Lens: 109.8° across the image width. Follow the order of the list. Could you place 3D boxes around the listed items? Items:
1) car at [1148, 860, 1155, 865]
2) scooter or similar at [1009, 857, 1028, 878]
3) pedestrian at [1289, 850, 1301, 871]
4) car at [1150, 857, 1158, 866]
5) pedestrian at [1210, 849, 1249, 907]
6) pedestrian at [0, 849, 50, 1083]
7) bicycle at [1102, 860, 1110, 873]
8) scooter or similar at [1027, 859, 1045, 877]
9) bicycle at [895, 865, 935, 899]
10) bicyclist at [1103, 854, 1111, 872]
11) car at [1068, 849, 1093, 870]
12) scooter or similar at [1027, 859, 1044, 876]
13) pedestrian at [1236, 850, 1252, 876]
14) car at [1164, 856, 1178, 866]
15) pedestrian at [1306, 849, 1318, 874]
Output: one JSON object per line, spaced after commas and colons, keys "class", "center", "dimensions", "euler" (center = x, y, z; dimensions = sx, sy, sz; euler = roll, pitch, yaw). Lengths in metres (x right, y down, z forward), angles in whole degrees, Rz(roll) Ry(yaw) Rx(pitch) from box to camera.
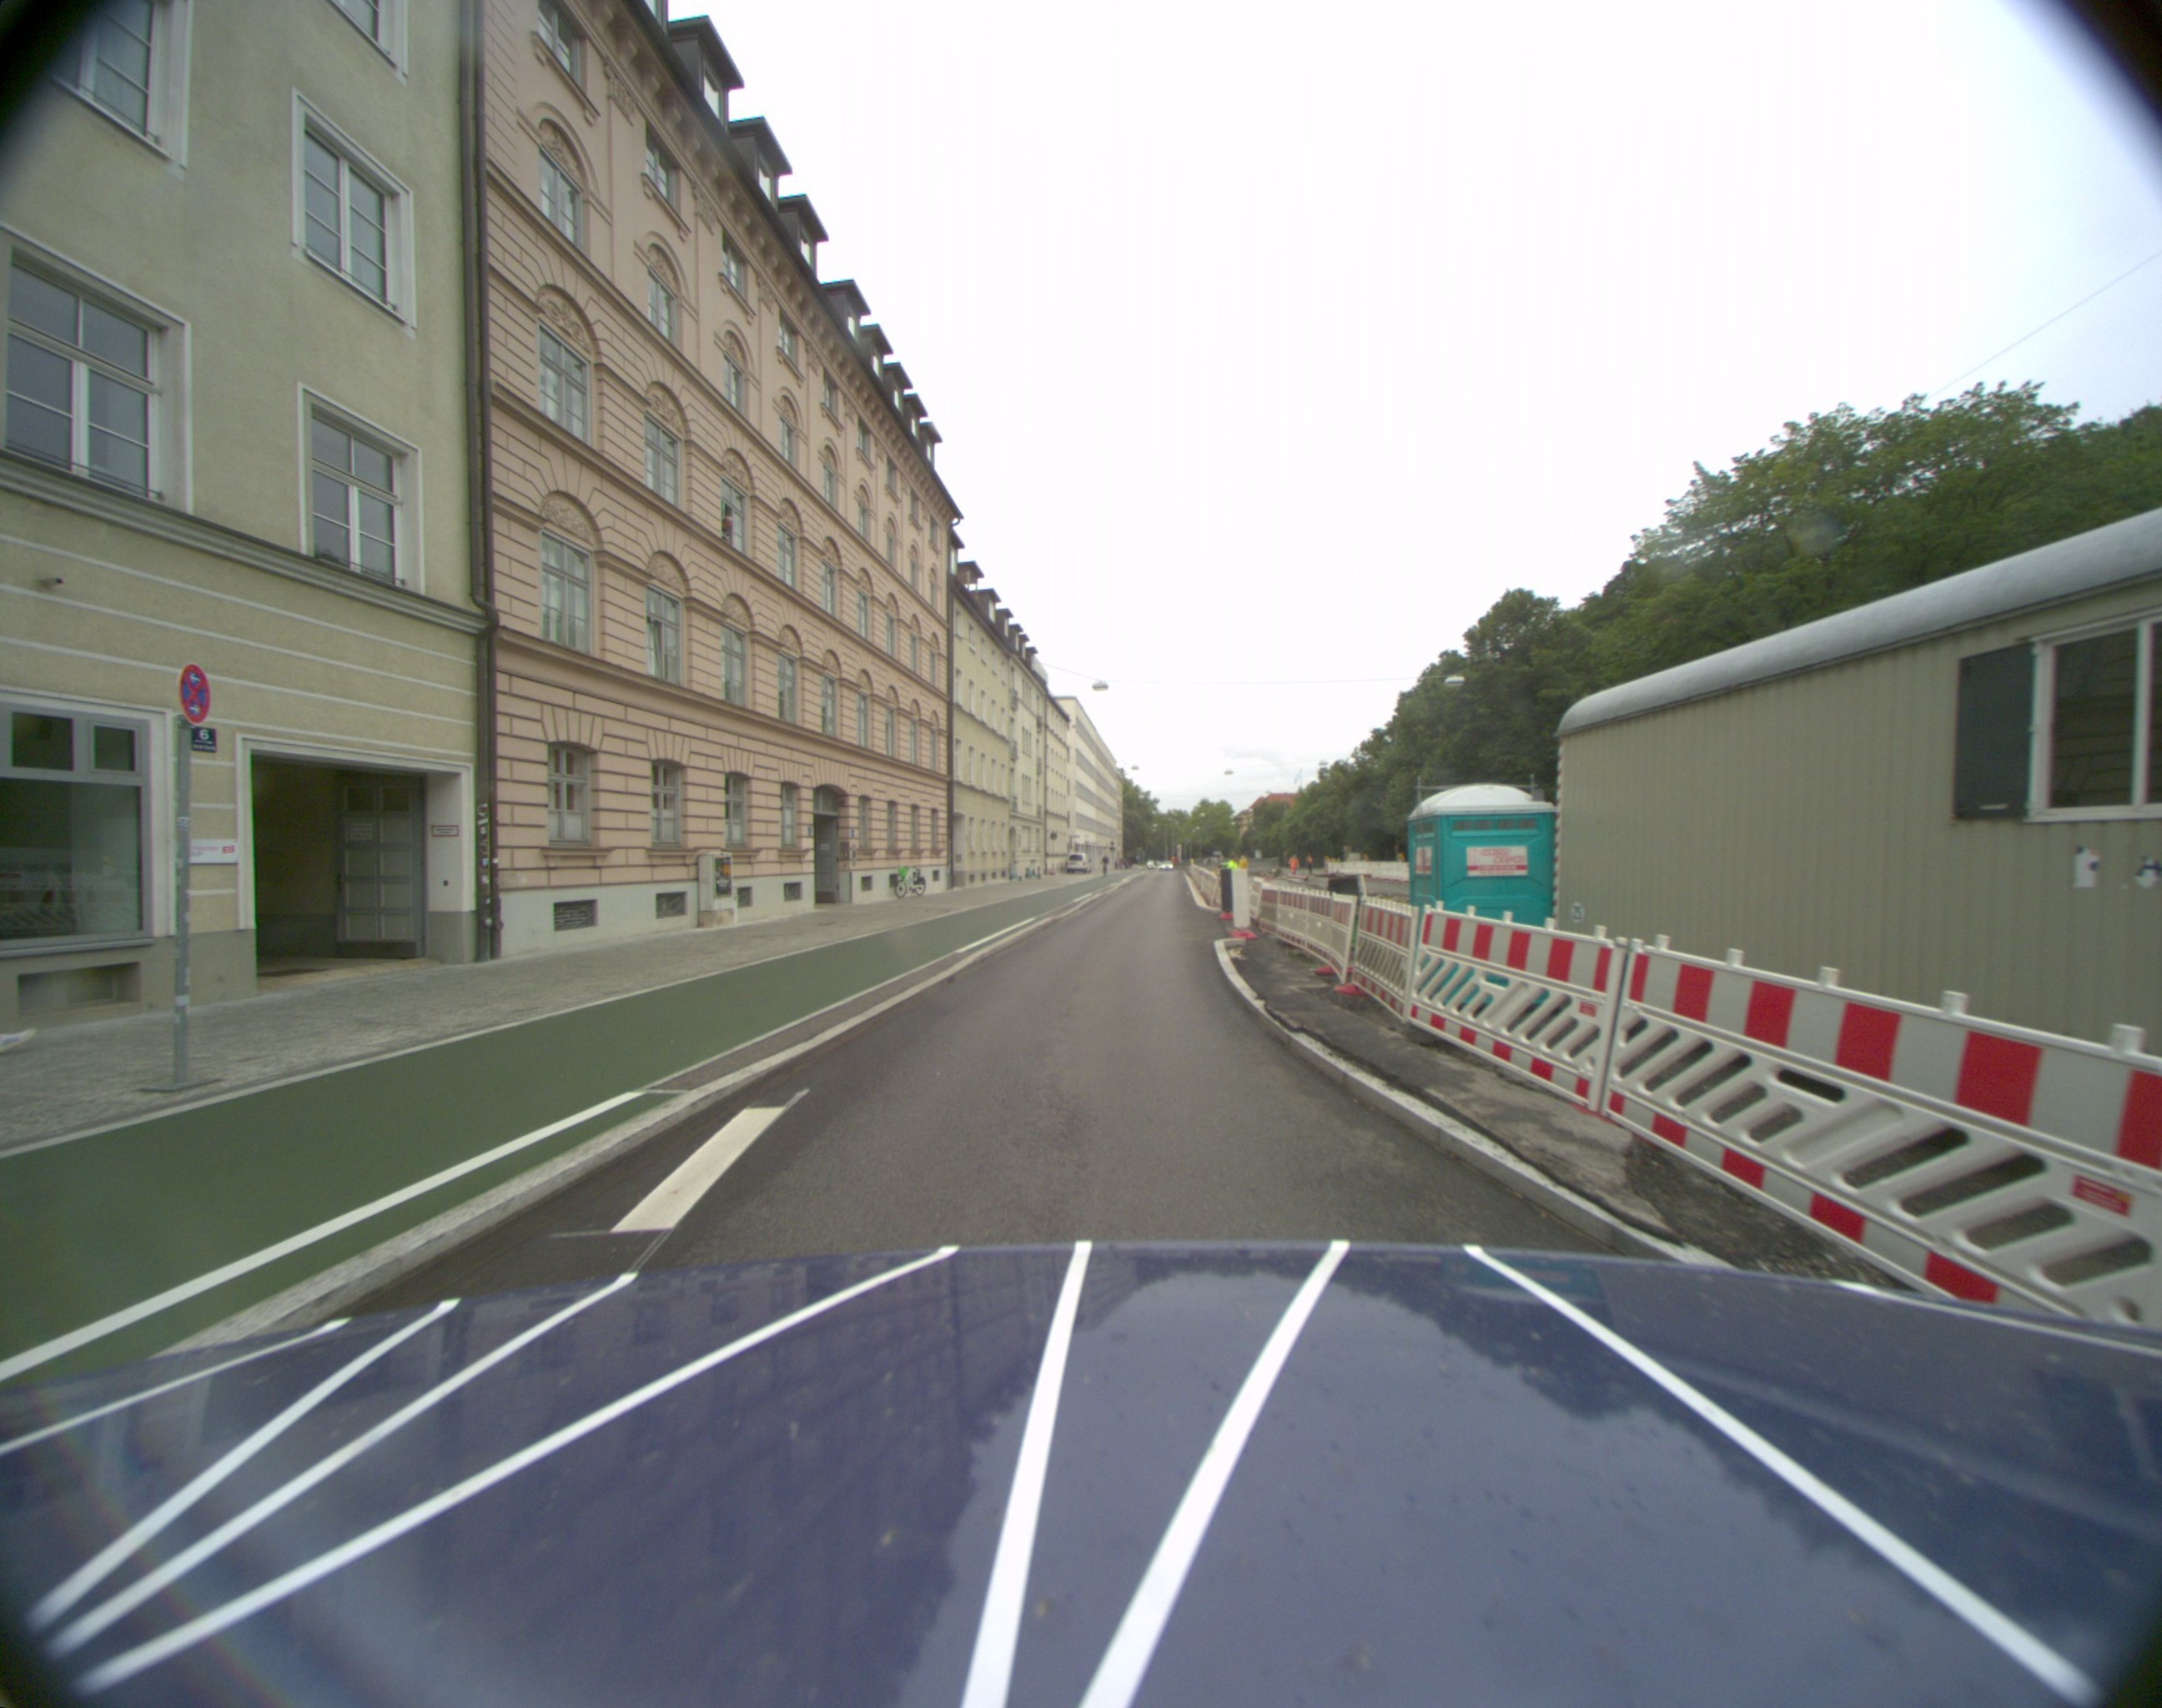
{"class": "car", "center": [21.712, 2.506, 234.446], "dimensions": [1.997, 1.560, 4.002], "euler": [0, 0, 6]}
{"class": "scooter or similar", "center": [-3.813, 0.835, 46.116], "dimensions": [0.552, 1.238, 1.079], "euler": [1, 1, 42]}
{"class": "pedestrian", "center": [17.019, 0.536, 60.435], "dimensions": [0.899, 1.678, 0.912], "euler": [0, 1, 10]}
{"class": "car", "center": [18.661, 1.923, 194.013], "dimensions": [1.998, 2.002, 4.001], "euler": [-2, 1, 5]}
{"class": "pedestrian", "center": [4.768, 0.765, 24.355], "dimensions": [0.990, 1.792, 0.816], "euler": [-2, 1, 25]}
{"class": "pedestrian", "center": [-8.446, 0.832, 5.519], "dimensions": [0.795, 1.735, 0.834], "euler": [0, 1, 8]}
{"class": "bicycle", "center": [2.050, 1.013, 61.873], "dimensions": [0.632, 1.031, 2.018], "euler": [0, 0, 1]}
{"class": "scooter or similar", "center": [-3.015, 0.914, 50.897], "dimensions": [1.078, 1.185, 0.453], "euler": [0, 1, -22]}
{"class": "bicycle", "center": [-6.050, 1.003, 27.706], "dimensions": [0.556, 1.170, 1.728], "euler": [0, 0, 22]}
{"class": "bicyclist", "center": [2.120, 0.708, 61.886], "dimensions": [0.632, 1.459, 0.653], "euler": [0, 1, 0]}
{"class": "car", "center": [0.020, 0.508, 68.009], "dimensions": [1.765, 1.821, 4.002], "euler": [0, 0, 7]}
{"class": "scooter or similar", "center": [-3.119, 0.924, 52.256], "dimensions": [1.079, 1.185, 0.436], "euler": [0, 1, -33]}
{"class": "pedestrian", "center": [11.679, 0.638, 54.374], "dimensions": [0.858, 1.826, 0.877], "euler": [0, 1, 34]}
{"class": "car", "center": [13.698, 1.100, 116.028], "dimensions": [1.758, 1.461, 4.001], "euler": [-2, 0, 3]}
{"class": "pedestrian", "center": [18.322, 0.571, 60.307], "dimensions": [0.666, 1.959, 0.807], "euler": [1, 1, 33]}
